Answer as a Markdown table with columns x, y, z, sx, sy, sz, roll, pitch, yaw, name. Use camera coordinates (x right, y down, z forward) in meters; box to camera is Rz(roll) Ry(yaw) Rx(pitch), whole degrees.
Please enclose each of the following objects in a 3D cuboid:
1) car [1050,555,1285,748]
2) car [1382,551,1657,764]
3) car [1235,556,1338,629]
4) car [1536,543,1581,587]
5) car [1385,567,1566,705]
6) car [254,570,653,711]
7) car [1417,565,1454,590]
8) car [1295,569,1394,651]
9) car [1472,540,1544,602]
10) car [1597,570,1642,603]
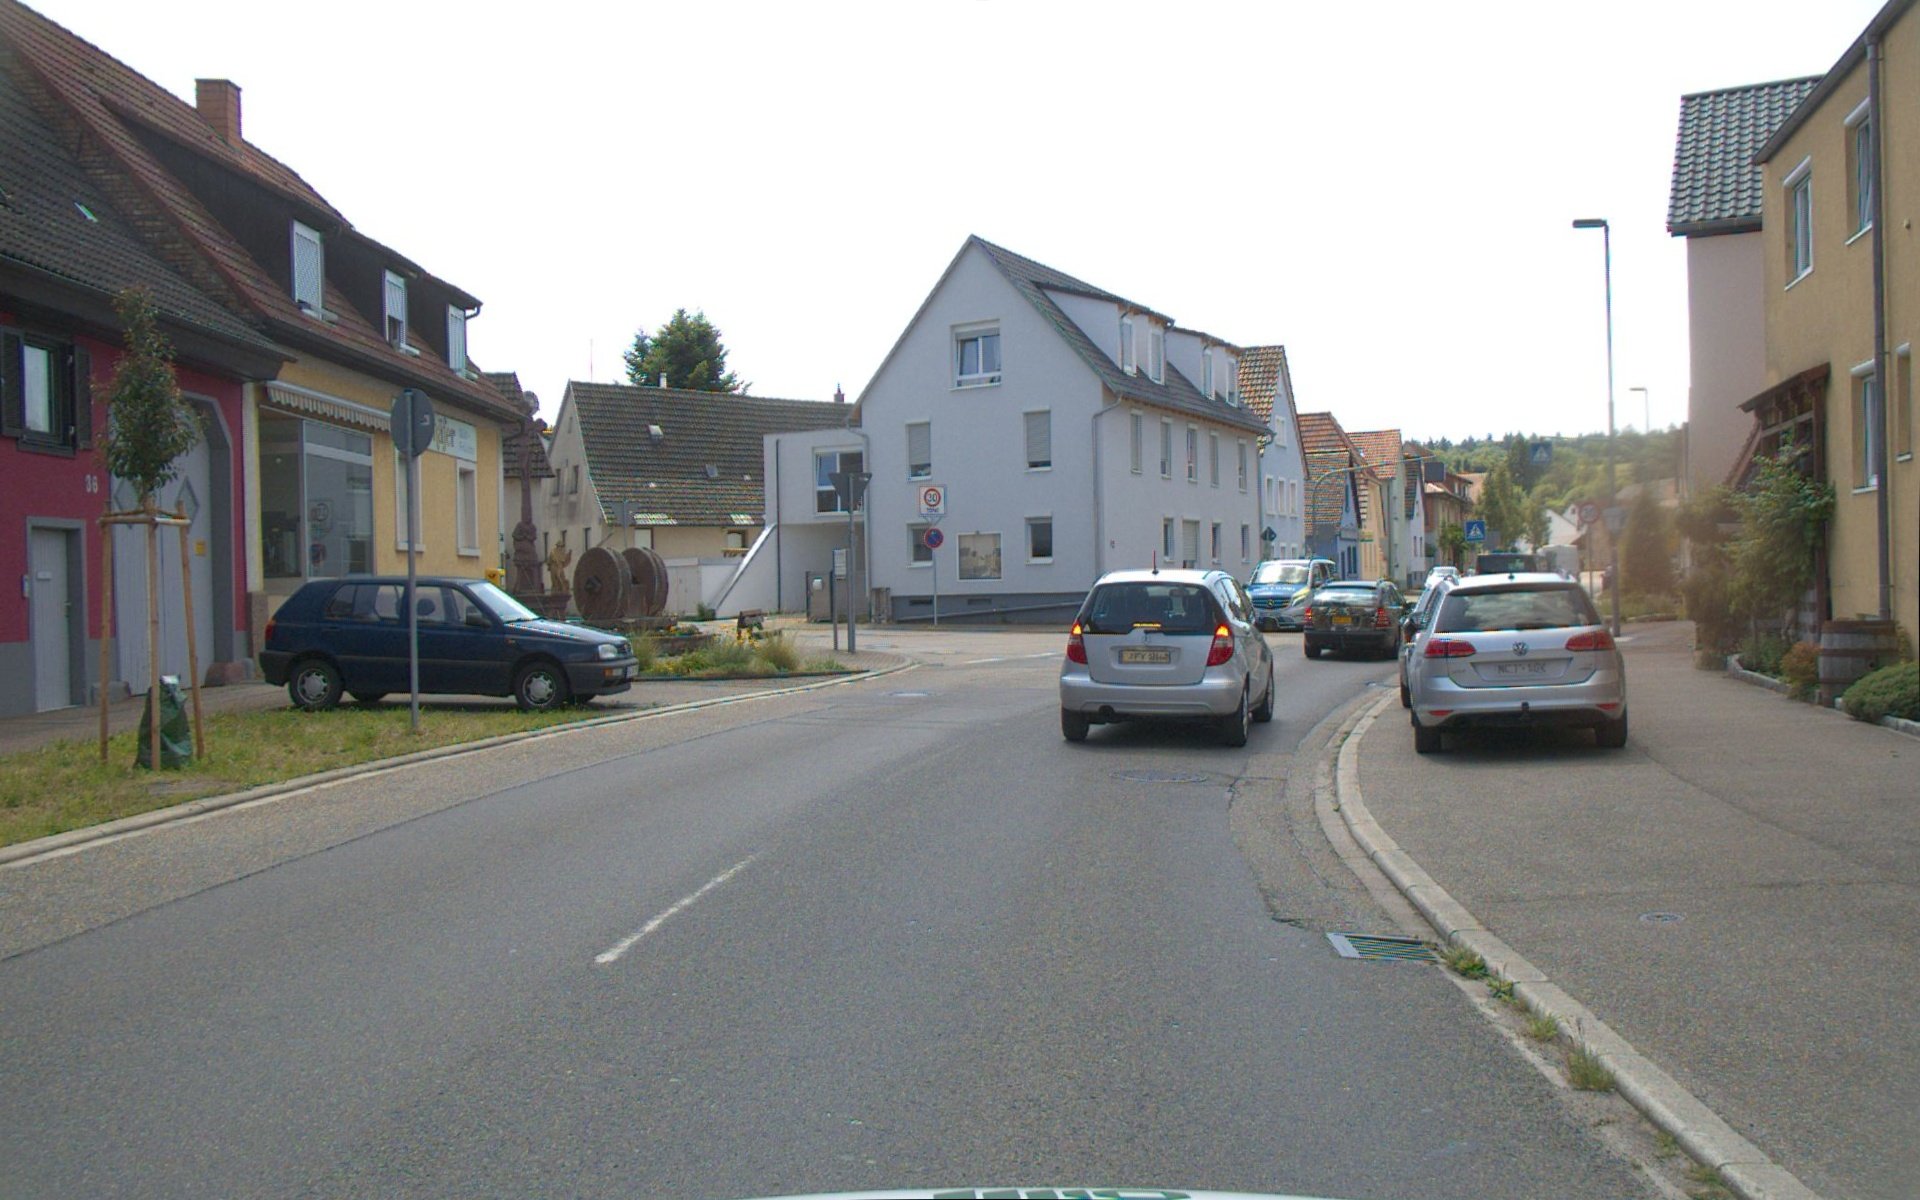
| x | y | z | sx | sy | sz | roll | pitch | yaw | name |
| --- | --- | --- | --- | --- | --- | --- | --- | --- | --- |
| 2.181 | 0.425 | 16.526 | 1.772 | 1.672 | 3.732 | 1 | 1 | 16 | car |
| 4.860 | 0.437 | 14.942 | 1.845 | 1.556 | 4.339 | -4 | 0 | 13 | car |
| 8.811 | -0.161 | 44.312 | 1.952 | 1.831 | 4.936 | 0 | -1 | 20 | car |
| 29.847 | -1.694 | 82.467 | 1.953 | 2.049 | 3.999 | 0 | -1 | 22 | car |
| 6.232 | 0.430 | 20.423 | 1.732 | 1.424 | 4.428 | -4 | -2 | 13 | car |
| -5.506 | 0.421 | 18.334 | 3.886 | 1.489 | 1.721 | 0 | 0 | -1 | car |
| 27.464 | -1.261 | 95.407 | 1.951 | 1.344 | 3.710 | 0 | -1 | 18 | car |
| 7.337 | 0.197 | 31.364 | 1.712 | 1.441 | 4.003 | 0 | -1 | 14 | car |
| 17.531 | -0.897 | 52.788 | 1.953 | 1.848 | 4.000 | 0 | -1 | 22 | car |
| 31.623 | -0.620 | 79.243 | 1.953 | 1.534 | 3.999 | 0 | -1 | 23 | car |
